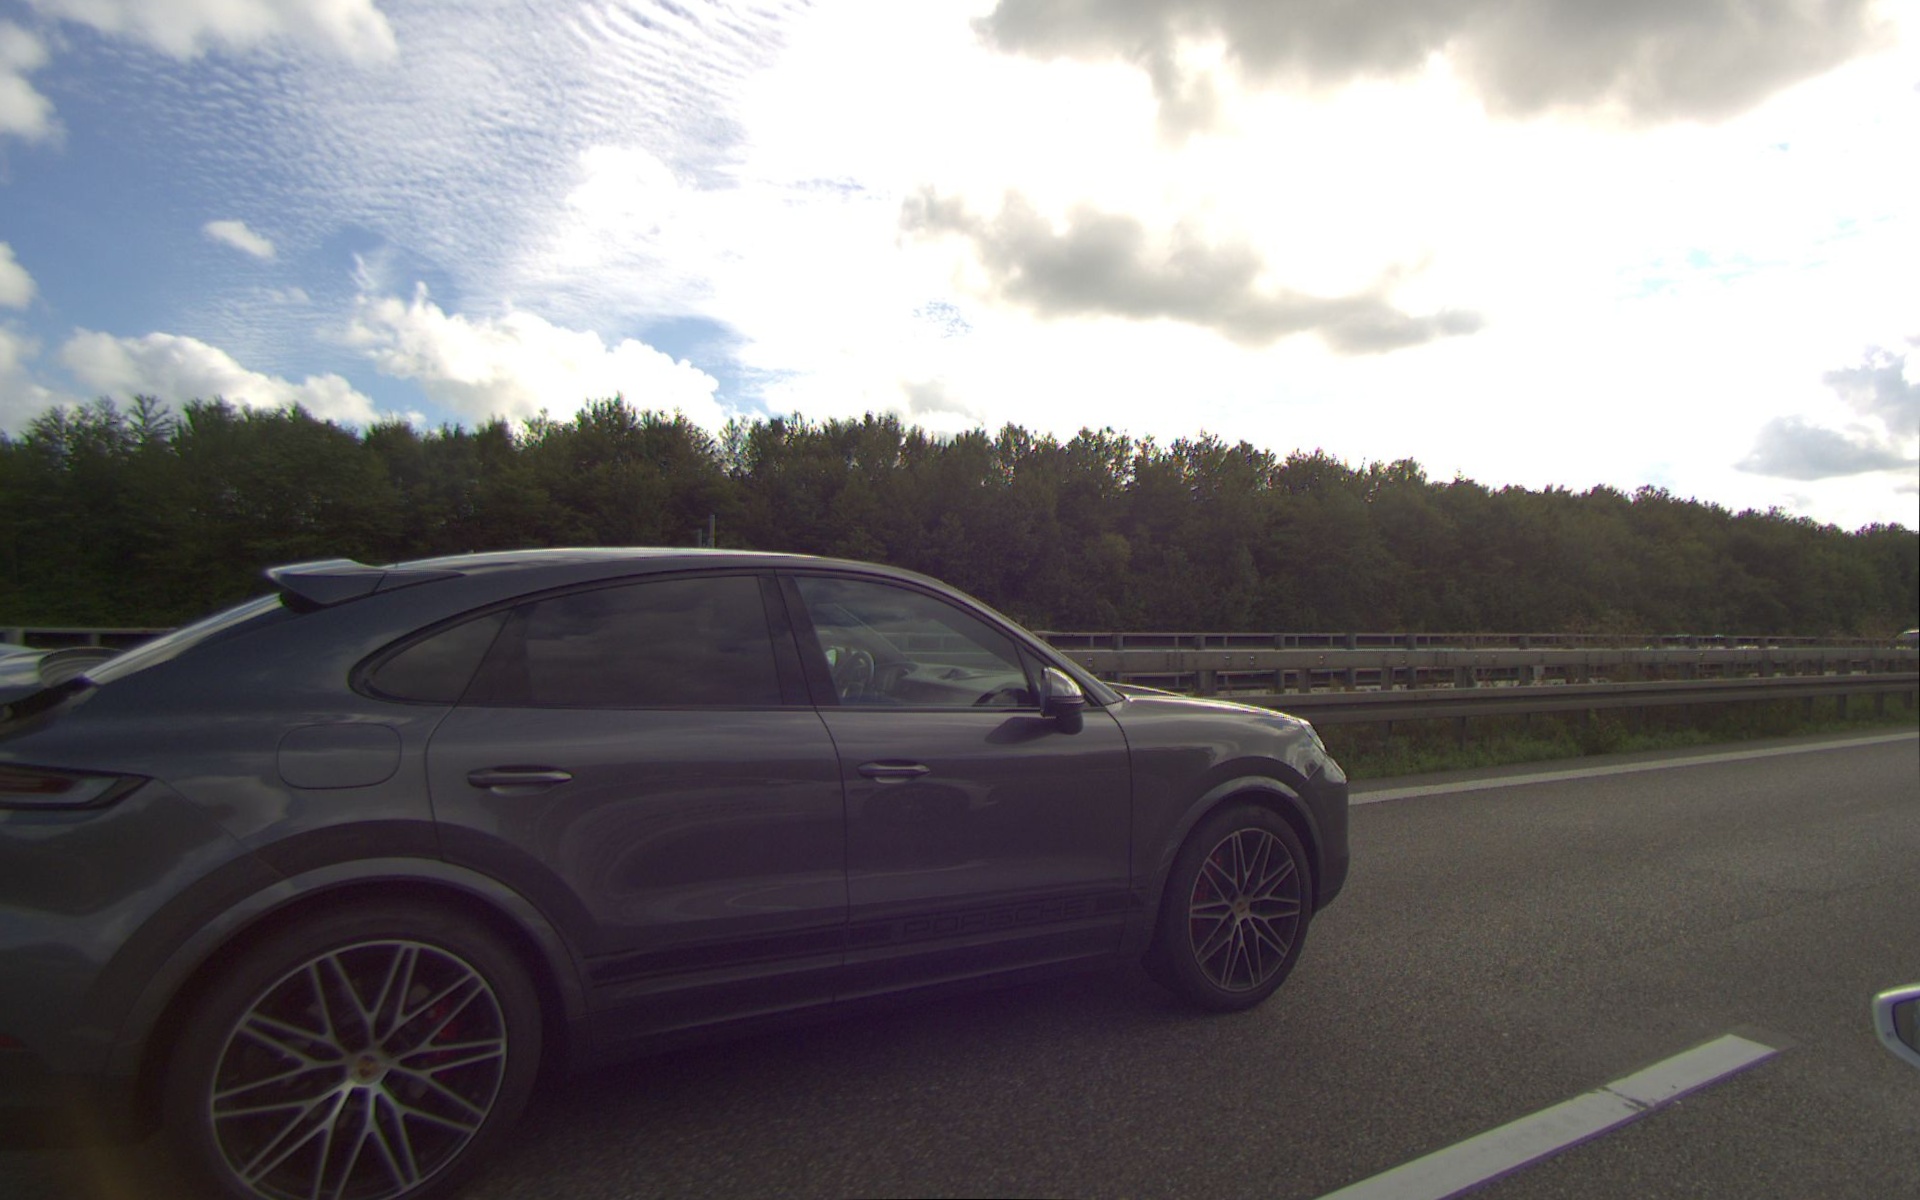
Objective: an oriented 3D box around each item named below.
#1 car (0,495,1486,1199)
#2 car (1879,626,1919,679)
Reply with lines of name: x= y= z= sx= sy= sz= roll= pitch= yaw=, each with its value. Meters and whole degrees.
car: x=-0.470 y=0.678 z=3.915 sx=5.436 sy=1.658 sz=1.903 roll=1 pitch=-1 yaw=-31
car: x=30.780 y=1.643 z=31.585 sx=4.125 sy=1.598 sz=1.667 roll=1 pitch=-2 yaw=-31
